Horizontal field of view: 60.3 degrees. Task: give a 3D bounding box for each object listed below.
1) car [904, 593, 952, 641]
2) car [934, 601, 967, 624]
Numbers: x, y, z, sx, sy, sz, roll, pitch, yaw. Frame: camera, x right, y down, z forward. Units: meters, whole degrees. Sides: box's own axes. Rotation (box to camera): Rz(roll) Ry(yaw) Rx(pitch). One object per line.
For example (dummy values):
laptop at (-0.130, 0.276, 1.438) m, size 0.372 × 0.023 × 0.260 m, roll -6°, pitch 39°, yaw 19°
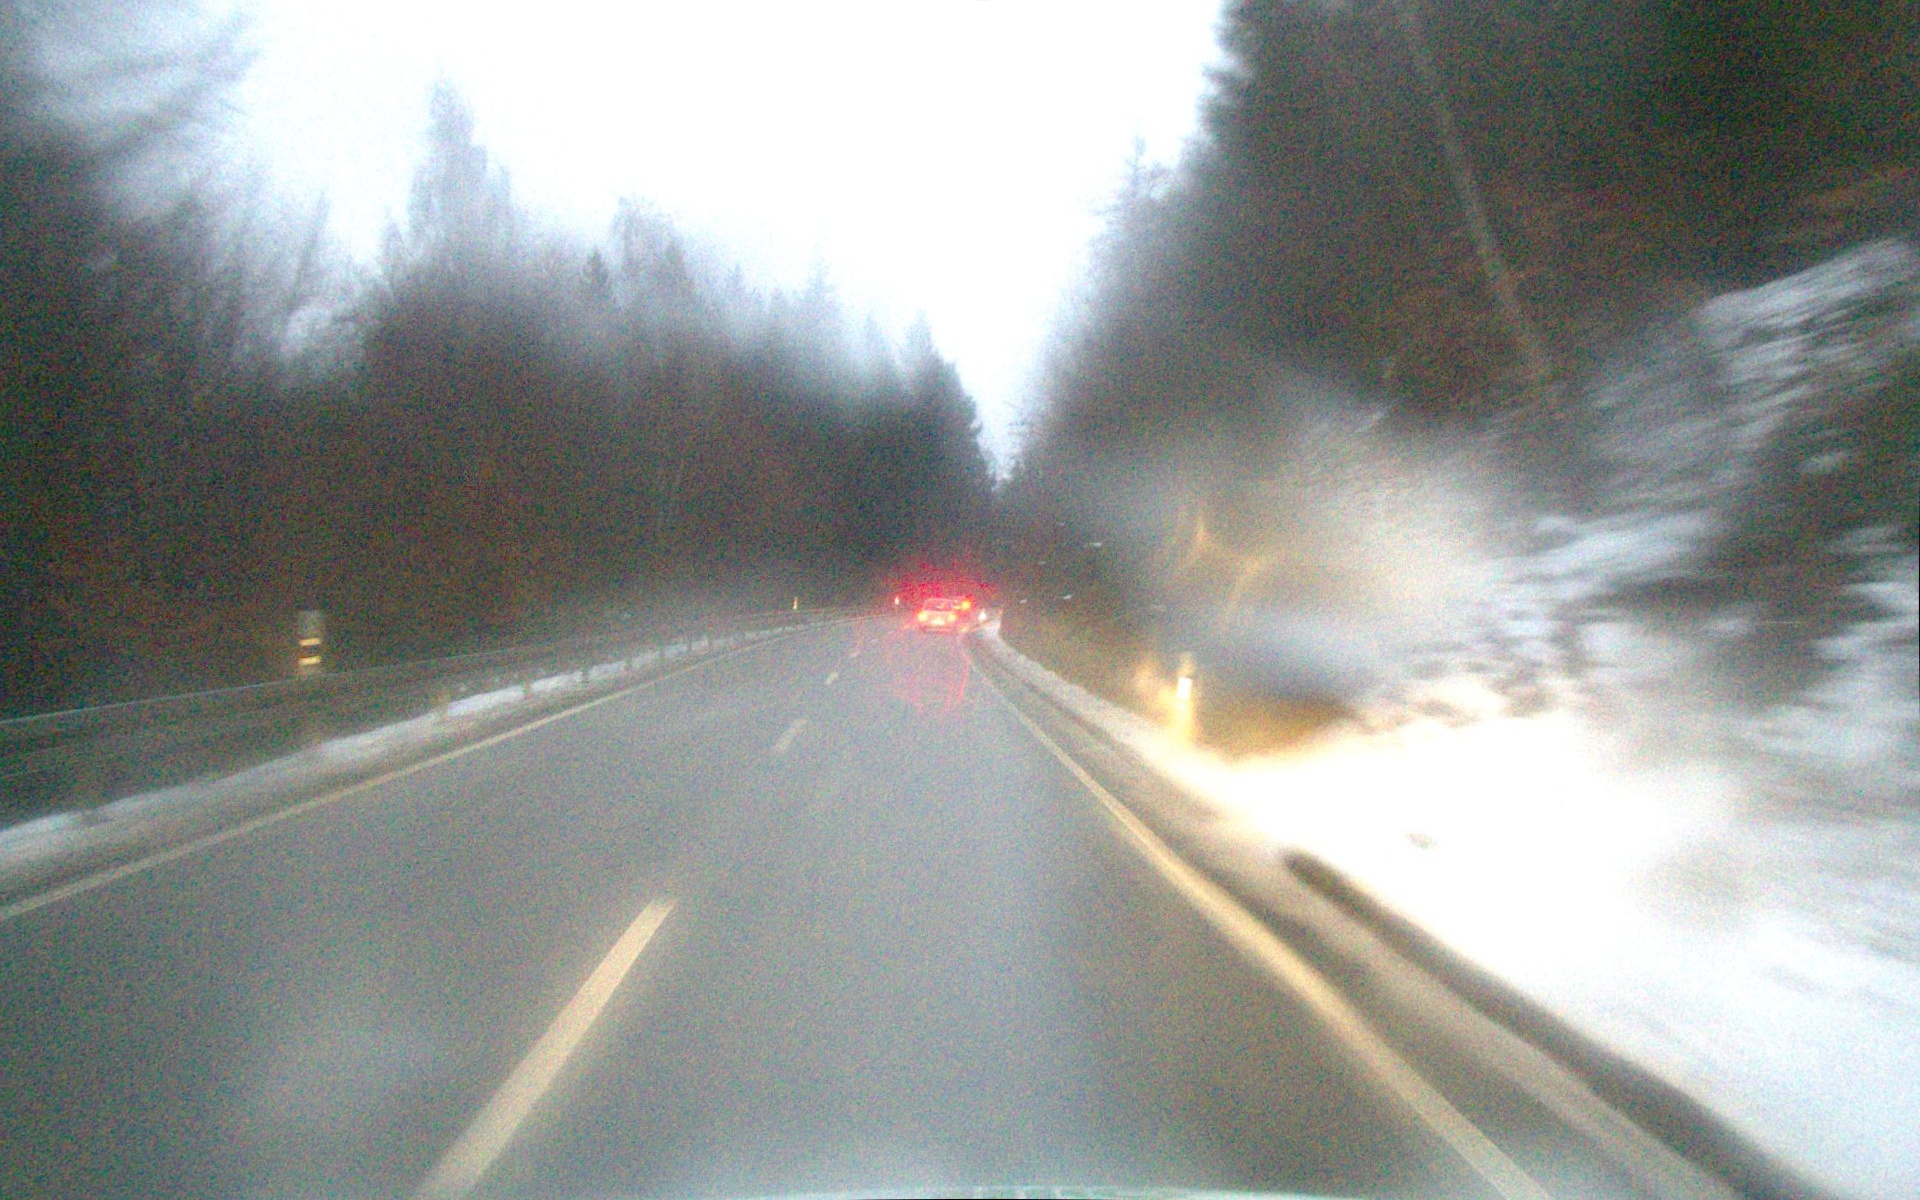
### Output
car at (-1.341, 0.698, 70.324) m, size 1.953 × 1.905 × 3.999 m, roll -2°, pitch 0°, yaw -1°
car at (-0.621, 0.744, 103.146) m, size 1.953 × 1.333 × 3.999 m, roll -2°, pitch 0°, yaw -1°
